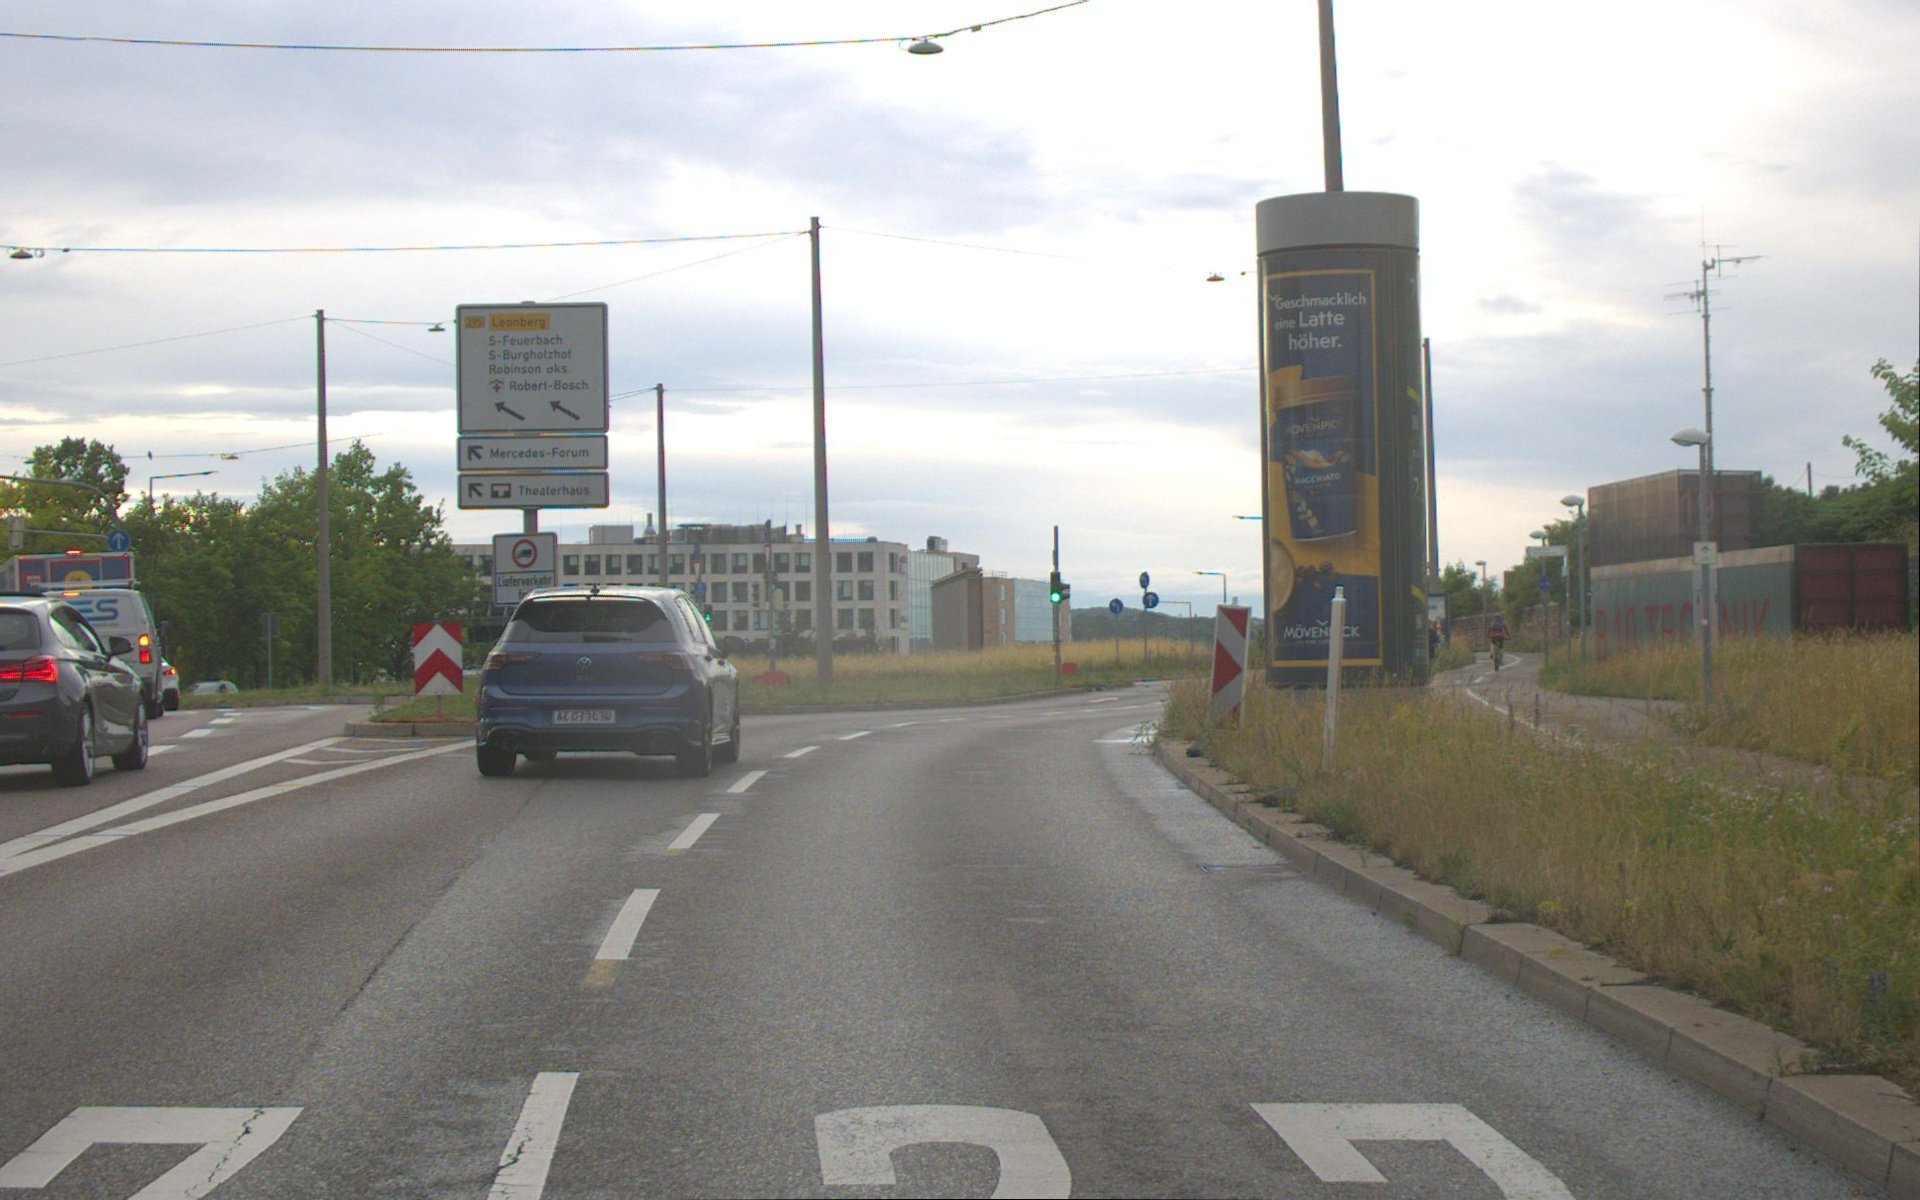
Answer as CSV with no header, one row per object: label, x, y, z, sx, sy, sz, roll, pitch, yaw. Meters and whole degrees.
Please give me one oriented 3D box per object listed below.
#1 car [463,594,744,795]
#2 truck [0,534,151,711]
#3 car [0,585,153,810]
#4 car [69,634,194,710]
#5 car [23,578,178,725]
car,-2.747,0.693,27.274,1.838,1.389,4.000,1,1,-1
truck,-17.336,0.443,65.874,2.665,3.209,6.550,0,-1,-21
car,-7.414,0.689,26.214,1.869,1.456,3.977,-1,2,-5
car,-19.281,1.693,79.934,1.919,1.638,4.391,0,-2,-26
car,-12.428,0.748,49.966,1.904,1.966,5.093,-2,-1,-12
